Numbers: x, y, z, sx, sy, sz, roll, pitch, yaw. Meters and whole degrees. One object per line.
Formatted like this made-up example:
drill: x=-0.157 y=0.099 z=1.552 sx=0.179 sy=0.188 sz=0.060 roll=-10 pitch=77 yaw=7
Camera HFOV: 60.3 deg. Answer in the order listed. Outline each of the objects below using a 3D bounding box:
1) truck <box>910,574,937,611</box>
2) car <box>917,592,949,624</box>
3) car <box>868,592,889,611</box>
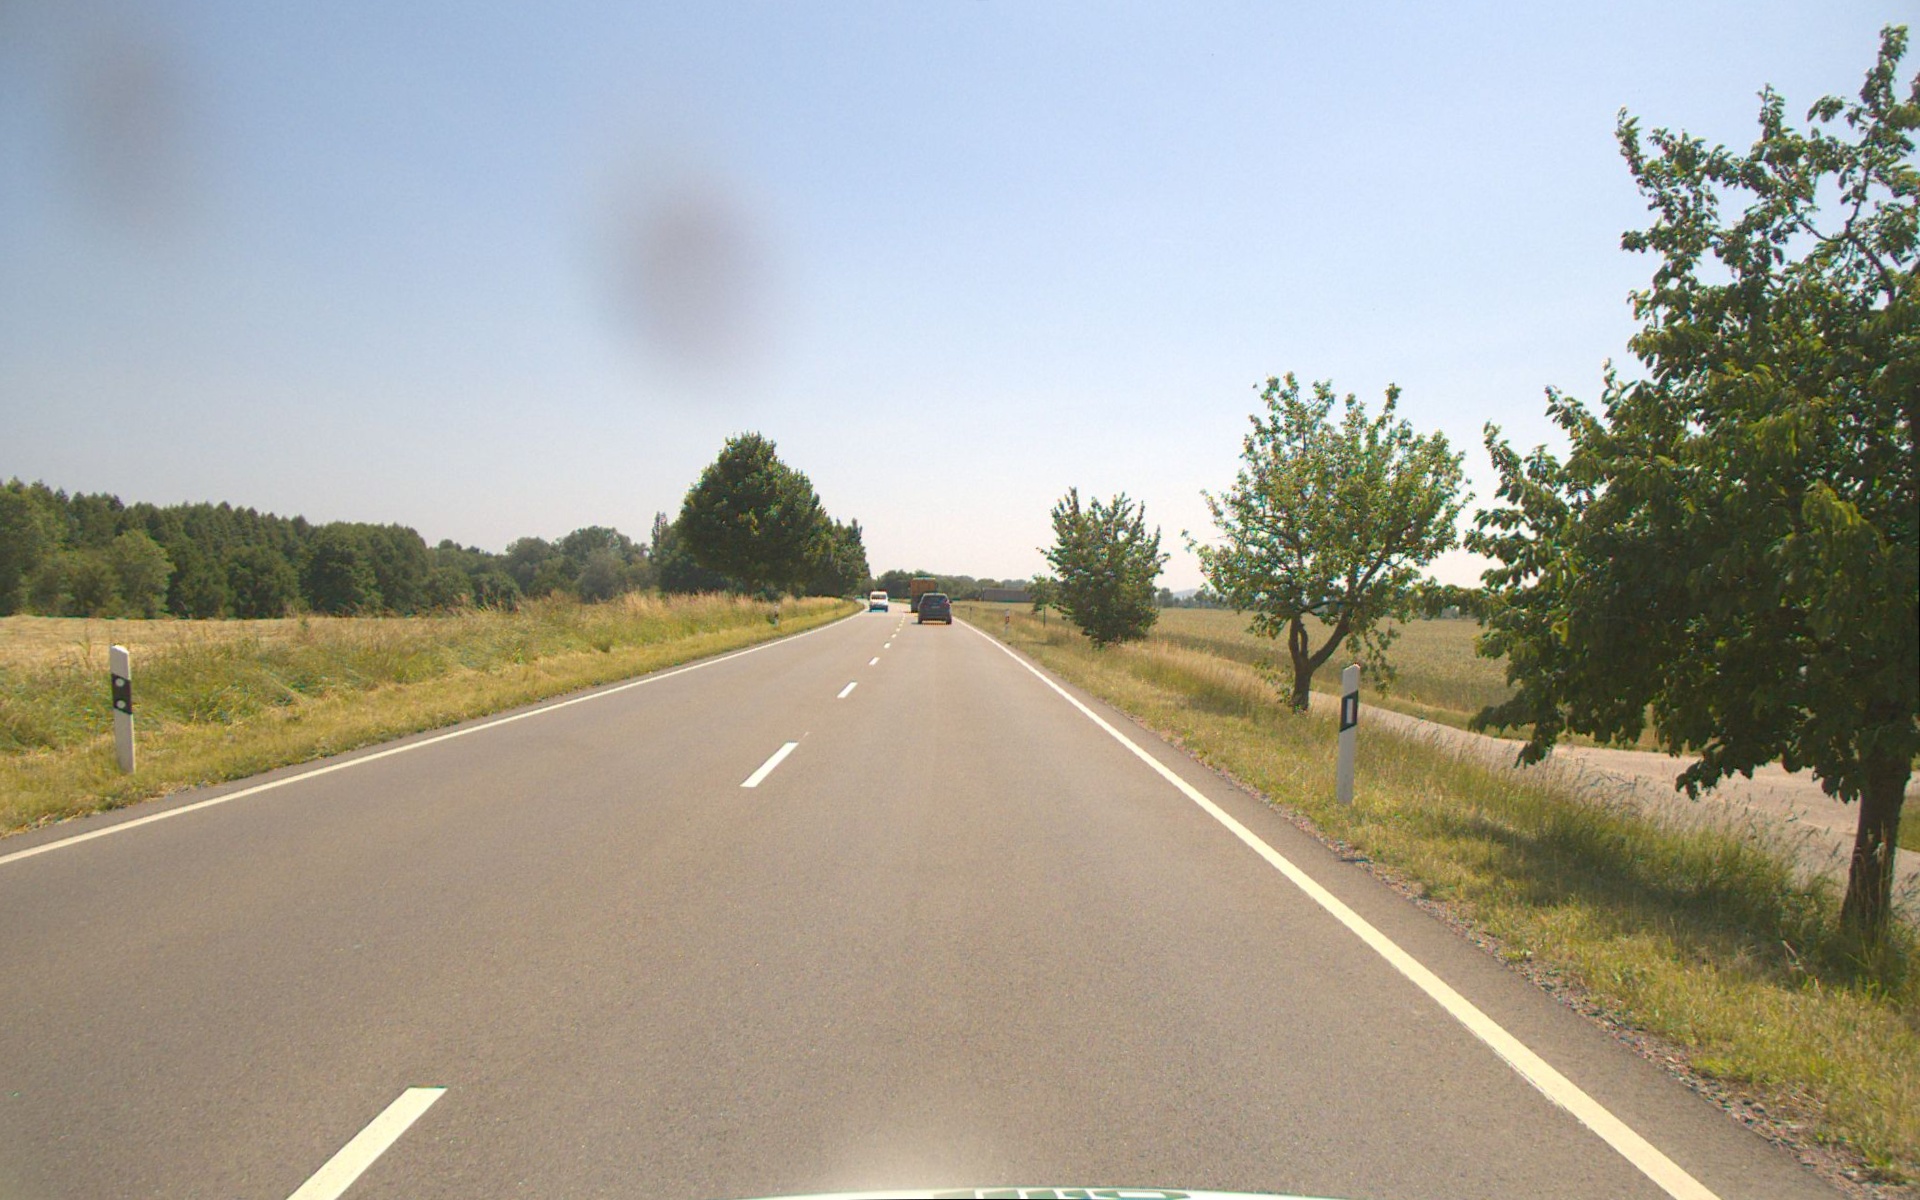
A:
truck: x=-3.428 y=-0.682 z=153.688 sx=2.323 sy=3.195 sz=8.744 roll=2 pitch=0 yaw=-2
car: x=-1.495 y=0.444 z=92.058 sx=1.679 sy=1.723 sz=3.988 roll=1 pitch=0 yaw=0
car: x=-7.494 y=0.140 z=152.805 sx=1.750 sy=1.759 sz=4.303 roll=1 pitch=0 yaw=-1
